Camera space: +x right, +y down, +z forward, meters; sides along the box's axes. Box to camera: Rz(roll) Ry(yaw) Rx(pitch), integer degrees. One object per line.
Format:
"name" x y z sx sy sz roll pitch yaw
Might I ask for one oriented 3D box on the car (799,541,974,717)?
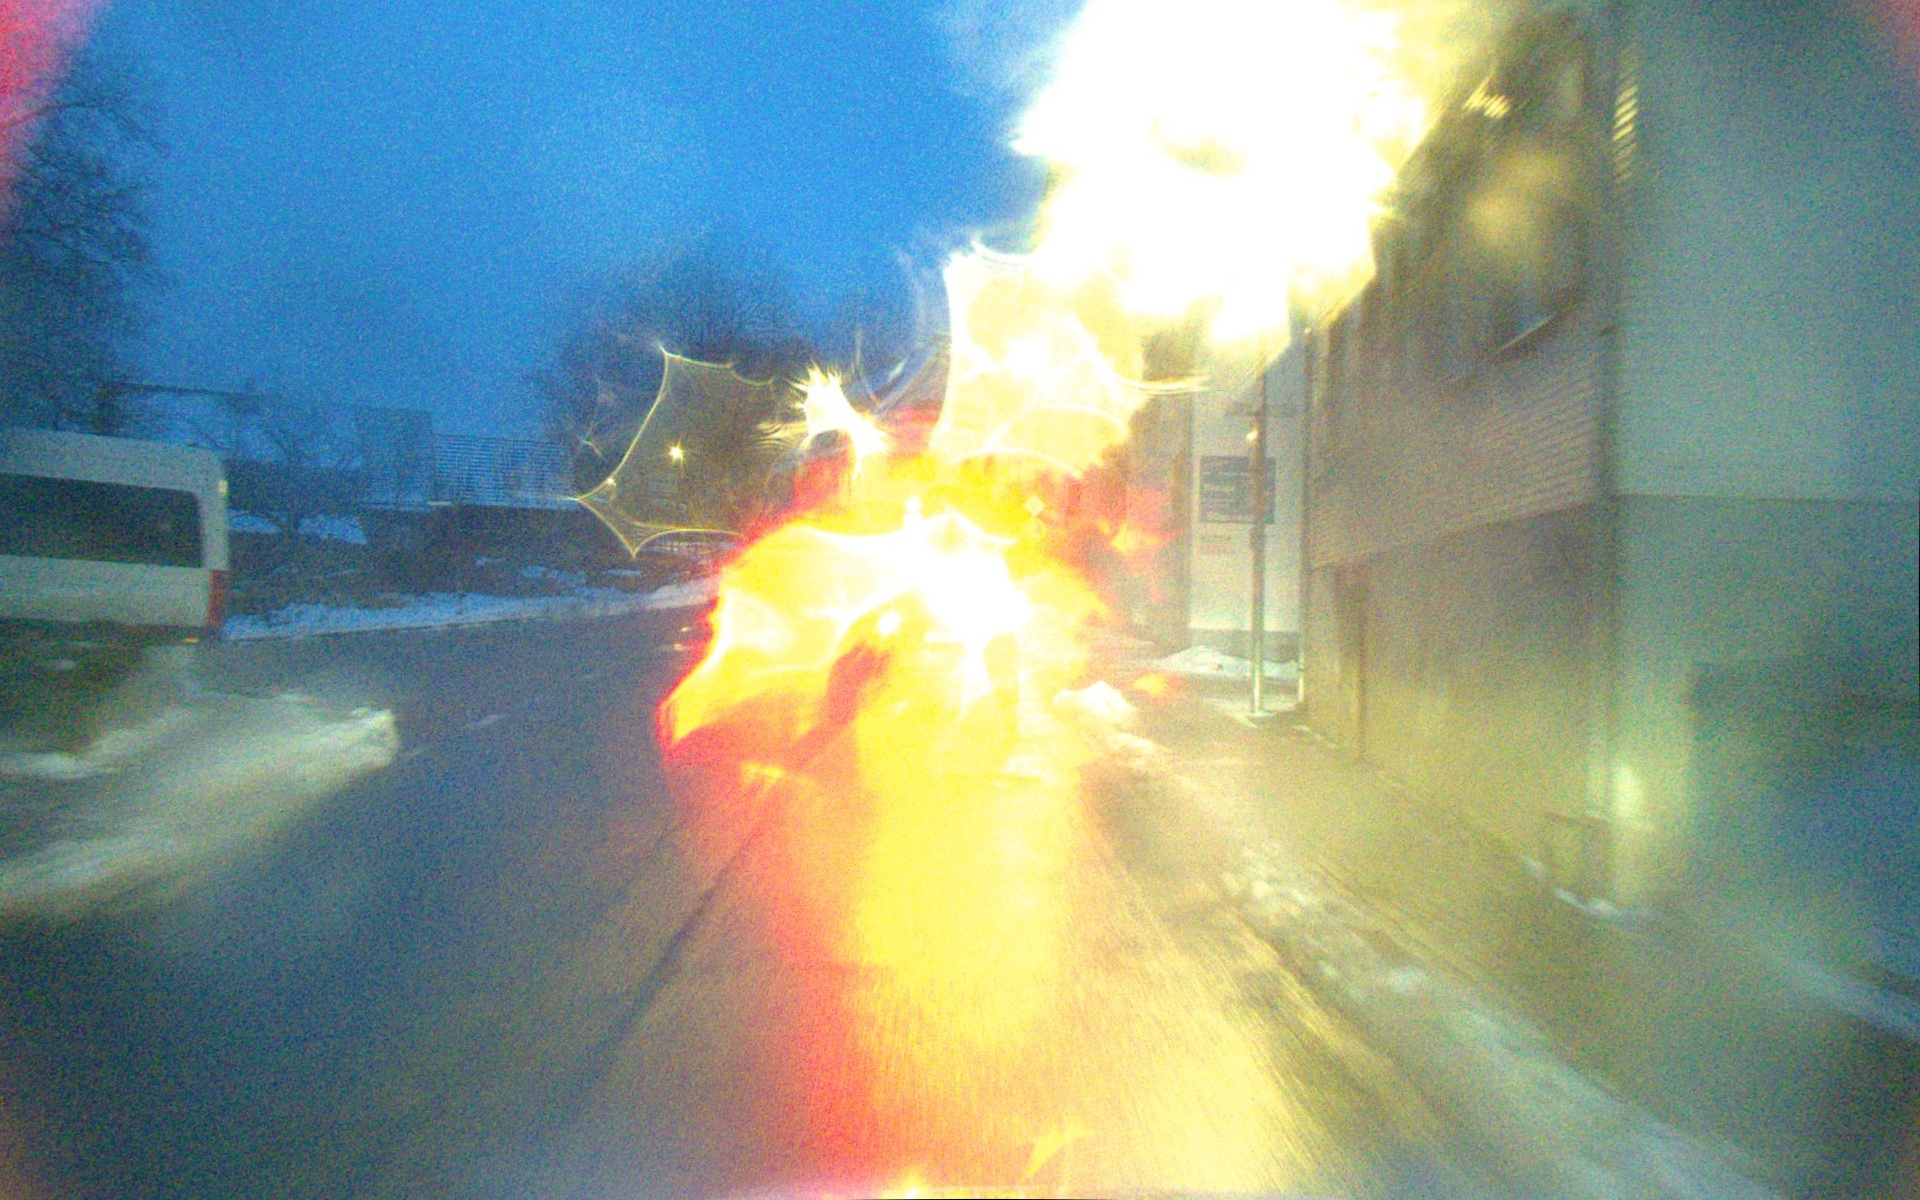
"car" -0.757 0.269 19.228 1.784 1.828 3.578 -1 1 1

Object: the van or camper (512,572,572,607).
"van or camper" -14.228 -0.332 56.215 1.267 1.121 3.244 2 -1 -27

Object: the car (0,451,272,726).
"car" -10.143 -0.124 16.180 6.037 2.598 1.978 2 -1 -33
